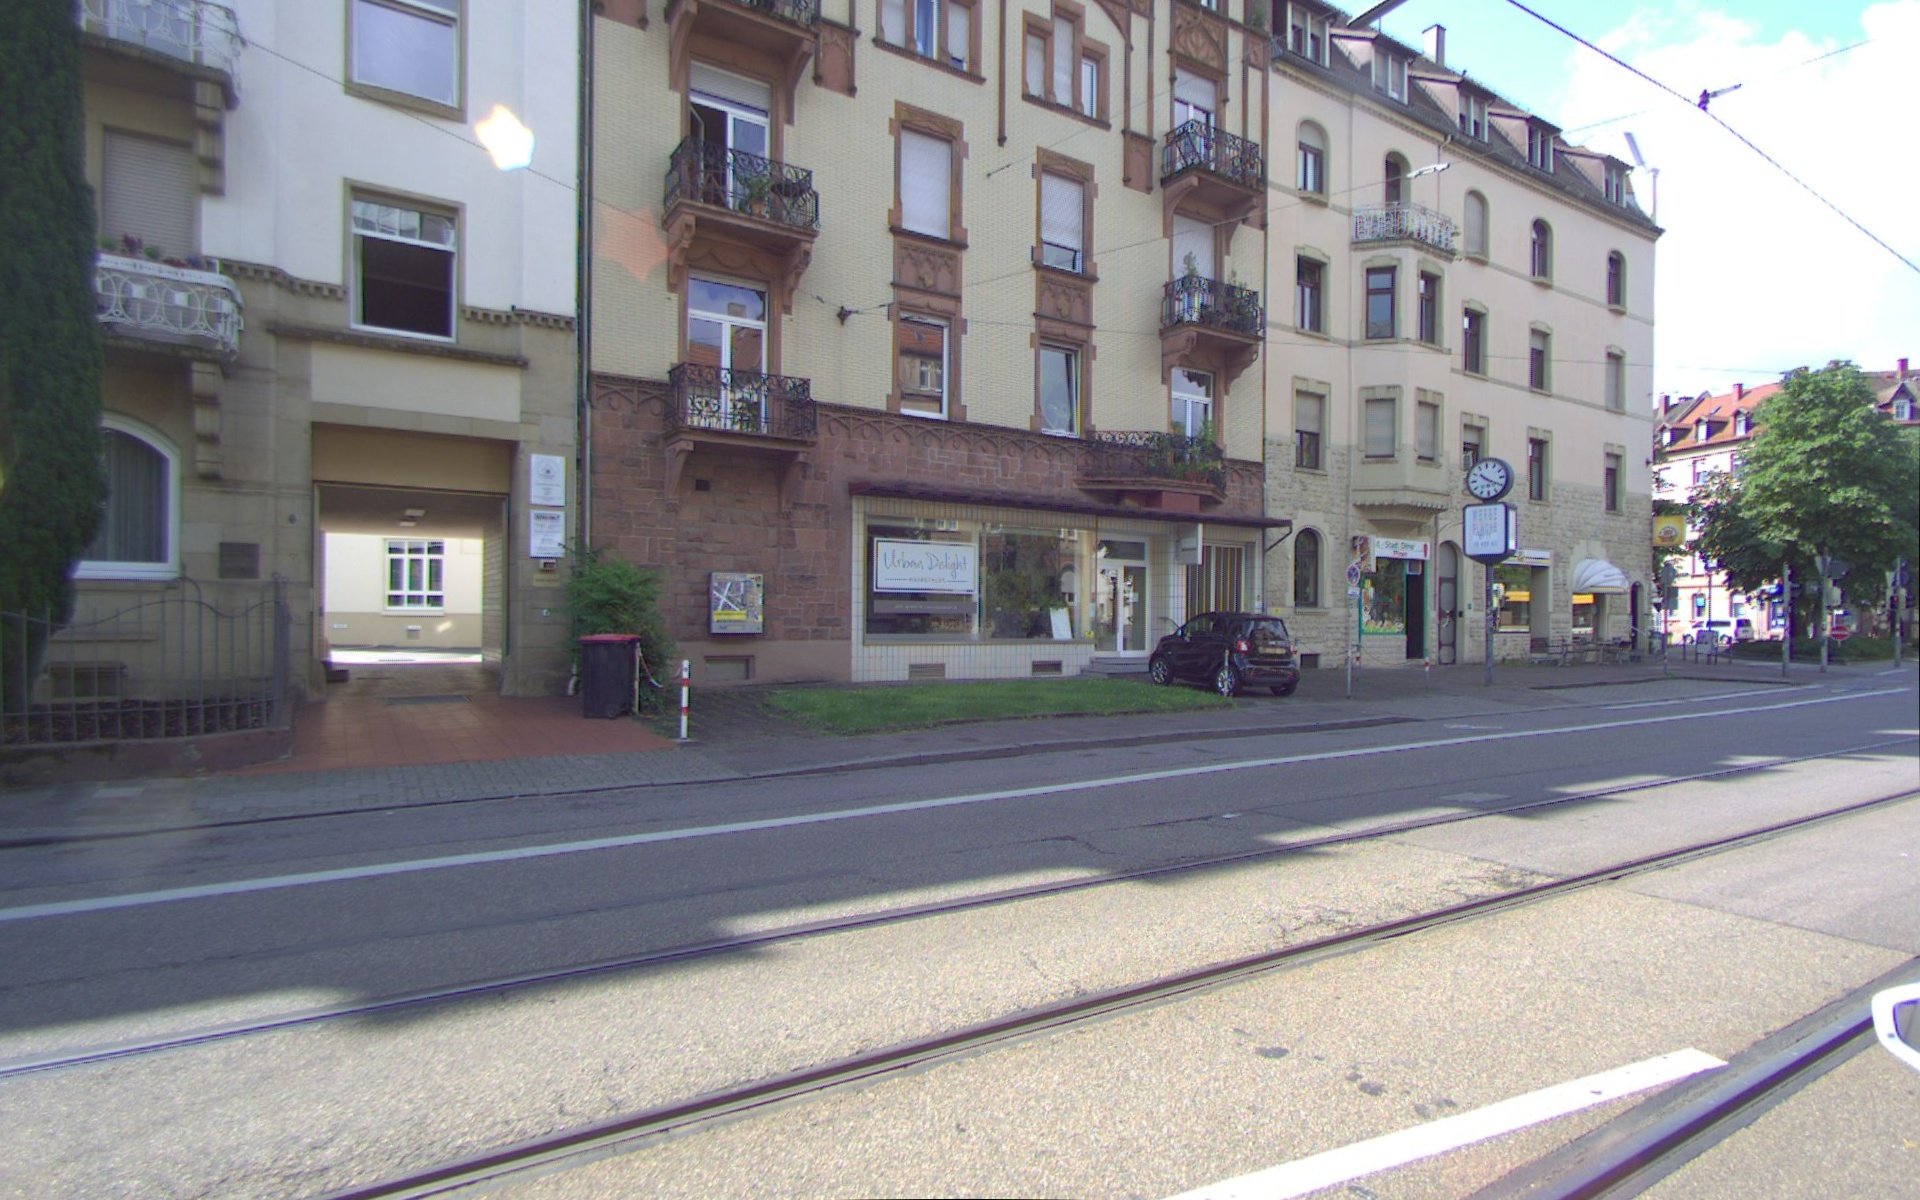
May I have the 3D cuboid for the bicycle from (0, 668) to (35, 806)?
[{"bbox_3d":[-7.993,0.990,7.278,1.791,0.972,0.509,3,1,-26],"label":"bicycle"}]

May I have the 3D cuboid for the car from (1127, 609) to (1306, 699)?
[{"bbox_3d":[4.991,0.996,19.881,1.658,1.533,3.222,1,0,-29],"label":"car"}]

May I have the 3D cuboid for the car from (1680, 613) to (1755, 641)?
[{"bbox_3d":[58.381,2.109,77.502,1.971,2.039,4.113,0,-4,-22],"label":"car"}]

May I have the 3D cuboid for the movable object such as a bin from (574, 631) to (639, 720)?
[{"bbox_3d":[-4.599,0.968,13.089,0.595,1.084,0.597,2,2,1],"label":"movable object such as a bin"}]
